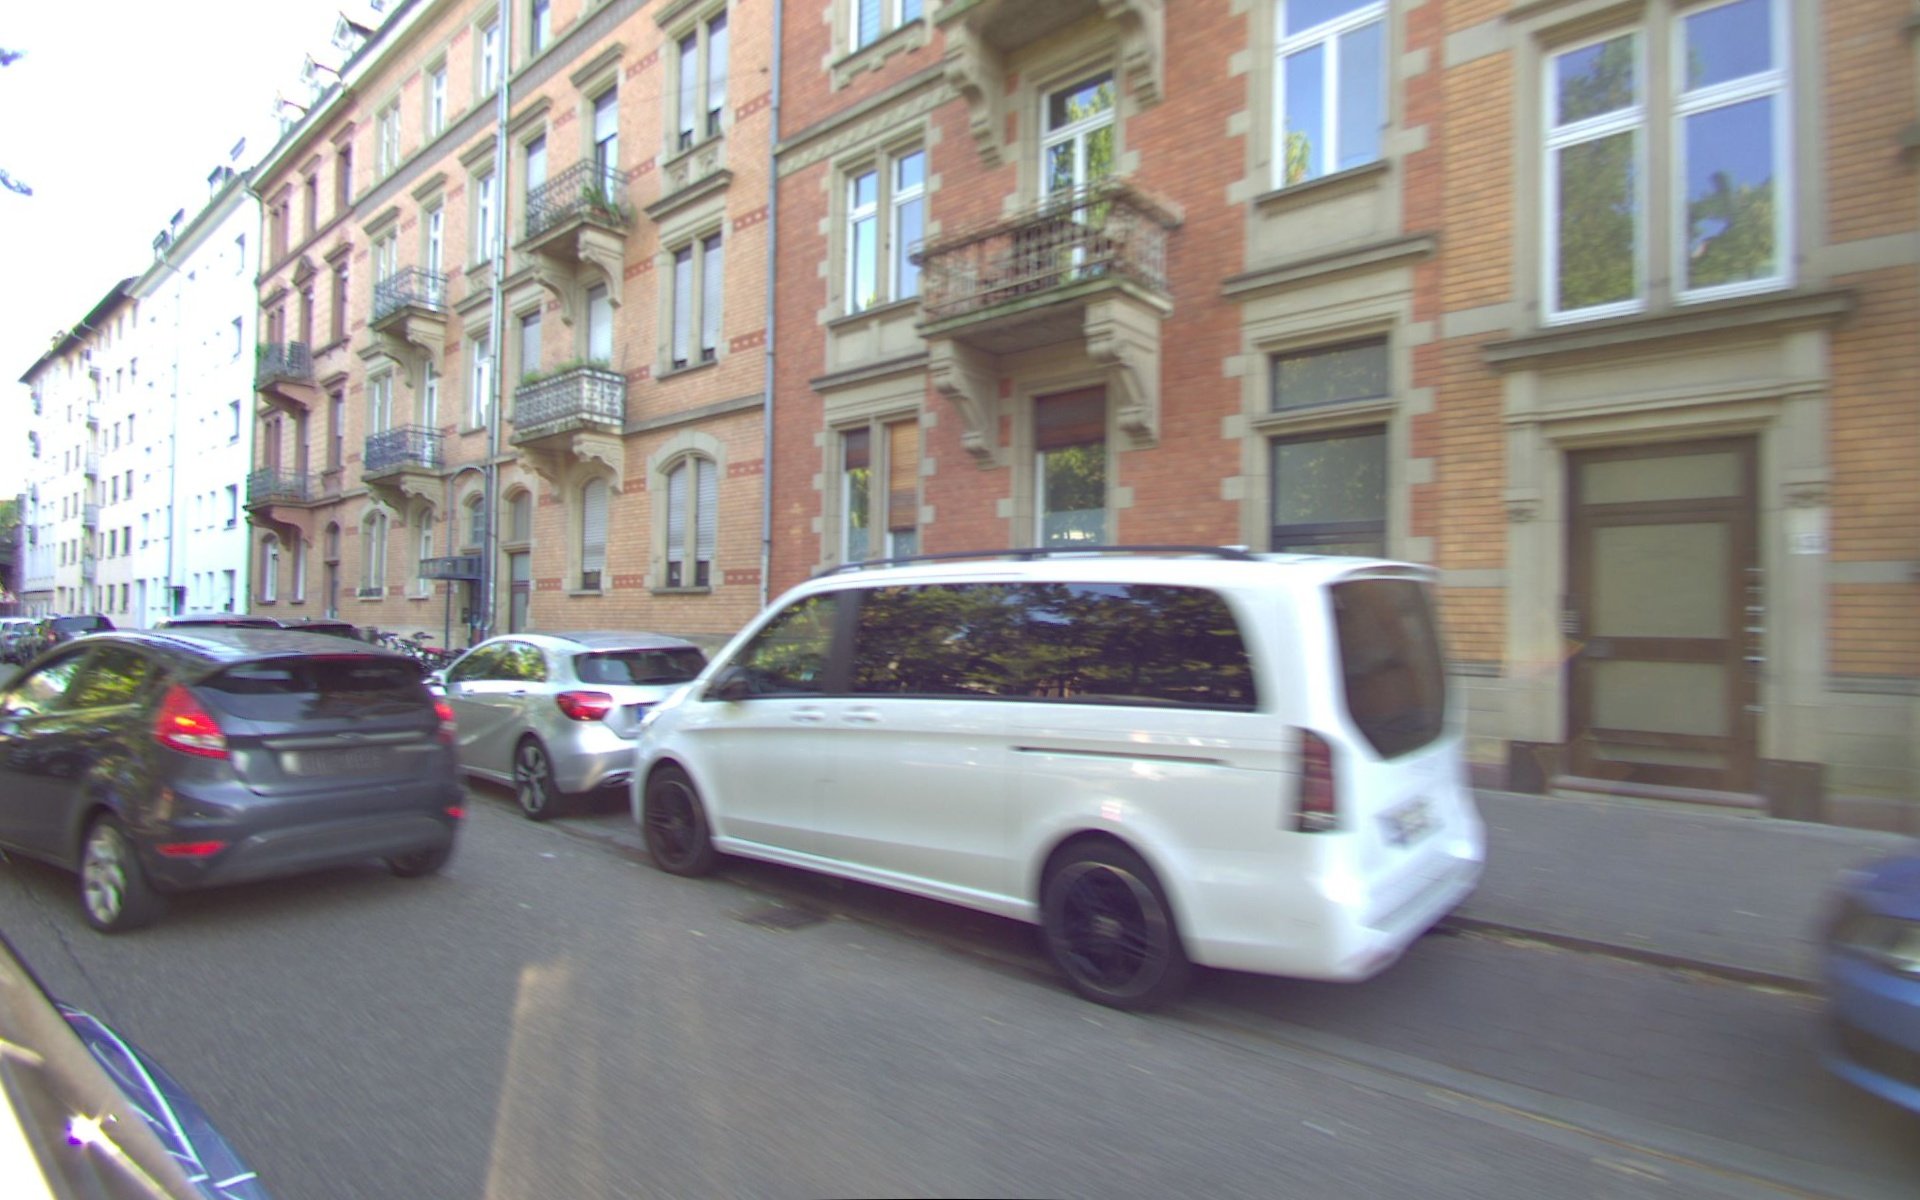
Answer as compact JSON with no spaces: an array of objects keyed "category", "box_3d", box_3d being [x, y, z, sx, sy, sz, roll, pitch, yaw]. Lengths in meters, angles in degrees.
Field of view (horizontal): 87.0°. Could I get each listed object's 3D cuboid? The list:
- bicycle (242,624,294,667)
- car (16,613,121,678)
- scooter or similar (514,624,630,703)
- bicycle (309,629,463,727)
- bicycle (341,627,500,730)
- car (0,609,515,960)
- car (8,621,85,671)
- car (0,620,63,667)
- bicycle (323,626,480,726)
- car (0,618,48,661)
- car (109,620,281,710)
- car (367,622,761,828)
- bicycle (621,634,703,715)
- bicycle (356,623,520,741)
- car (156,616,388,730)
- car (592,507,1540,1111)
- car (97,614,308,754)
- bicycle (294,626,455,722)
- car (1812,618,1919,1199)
[{"category":"bicycle","box_3d":[-20.494,1.335,29.948,2.514,1.216,0.729,-2,-2,43]},{"category":"car","box_3d":[-25.335,1.240,28.711,4.199,1.719,1.733,-1,-2,42]},{"category":"scooter or similar","box_3d":[-6.955,1.081,18.057,2.704,1.231,0.775,1,0,42]},{"category":"bicycle","box_3d":[-7.712,1.011,13.659,0.441,1.224,1.744,1,0,41]},{"category":"bicycle","box_3d":[-6.905,0.969,13.022,0.428,1.224,1.744,1,0,41]},{"category":"car","box_3d":[-4.685,0.835,6.051,3.985,1.475,1.656,0,-3,31]},{"category":"car","box_3d":[-29.365,1.432,32.497,4.001,1.463,1.597,-1,-1,44]},{"category":"car","box_3d":[-32.826,1.473,35.467,4.284,1.482,1.650,-1,0,43]},{"category":"bicycle","box_3d":[-7.317,0.959,13.327,0.464,1.224,1.744,1,0,41]},{"category":"car","box_3d":[-36.533,1.497,38.977,3.999,1.519,1.651,-1,0,42]},{"category":"car","box_3d":[-14.365,1.127,18.932,3.997,1.475,1.736,-1,0,40]},{"category":"car","box_3d":[-3.790,0.970,9.294,4.210,1.465,1.656,-1,-4,43]},{"category":"bicycle","box_3d":[-4.713,1.141,15.944,0.422,1.139,1.770,1,0,-45]},{"category":"bicycle","box_3d":[-6.503,0.978,12.685,0.495,1.358,1.744,1,0,41]},{"category":"car","box_3d":[-10.878,1.040,15.916,4.143,1.558,1.731,0,-1,36]},{"category":"car","box_3d":[0.173,0.640,5.655,5.038,1.935,1.973,1,0,41]},{"category":"car","box_3d":[-9.010,0.932,11.985,2.753,1.446,1.487,-1,-4,43]},{"category":"bicycle","box_3d":[-8.270,1.002,14.409,0.439,1.224,2.076,1,0,26]},{"category":"car","box_3d":[4.335,0.792,2.024,3.998,1.497,1.652,-1,-1,41]}]
